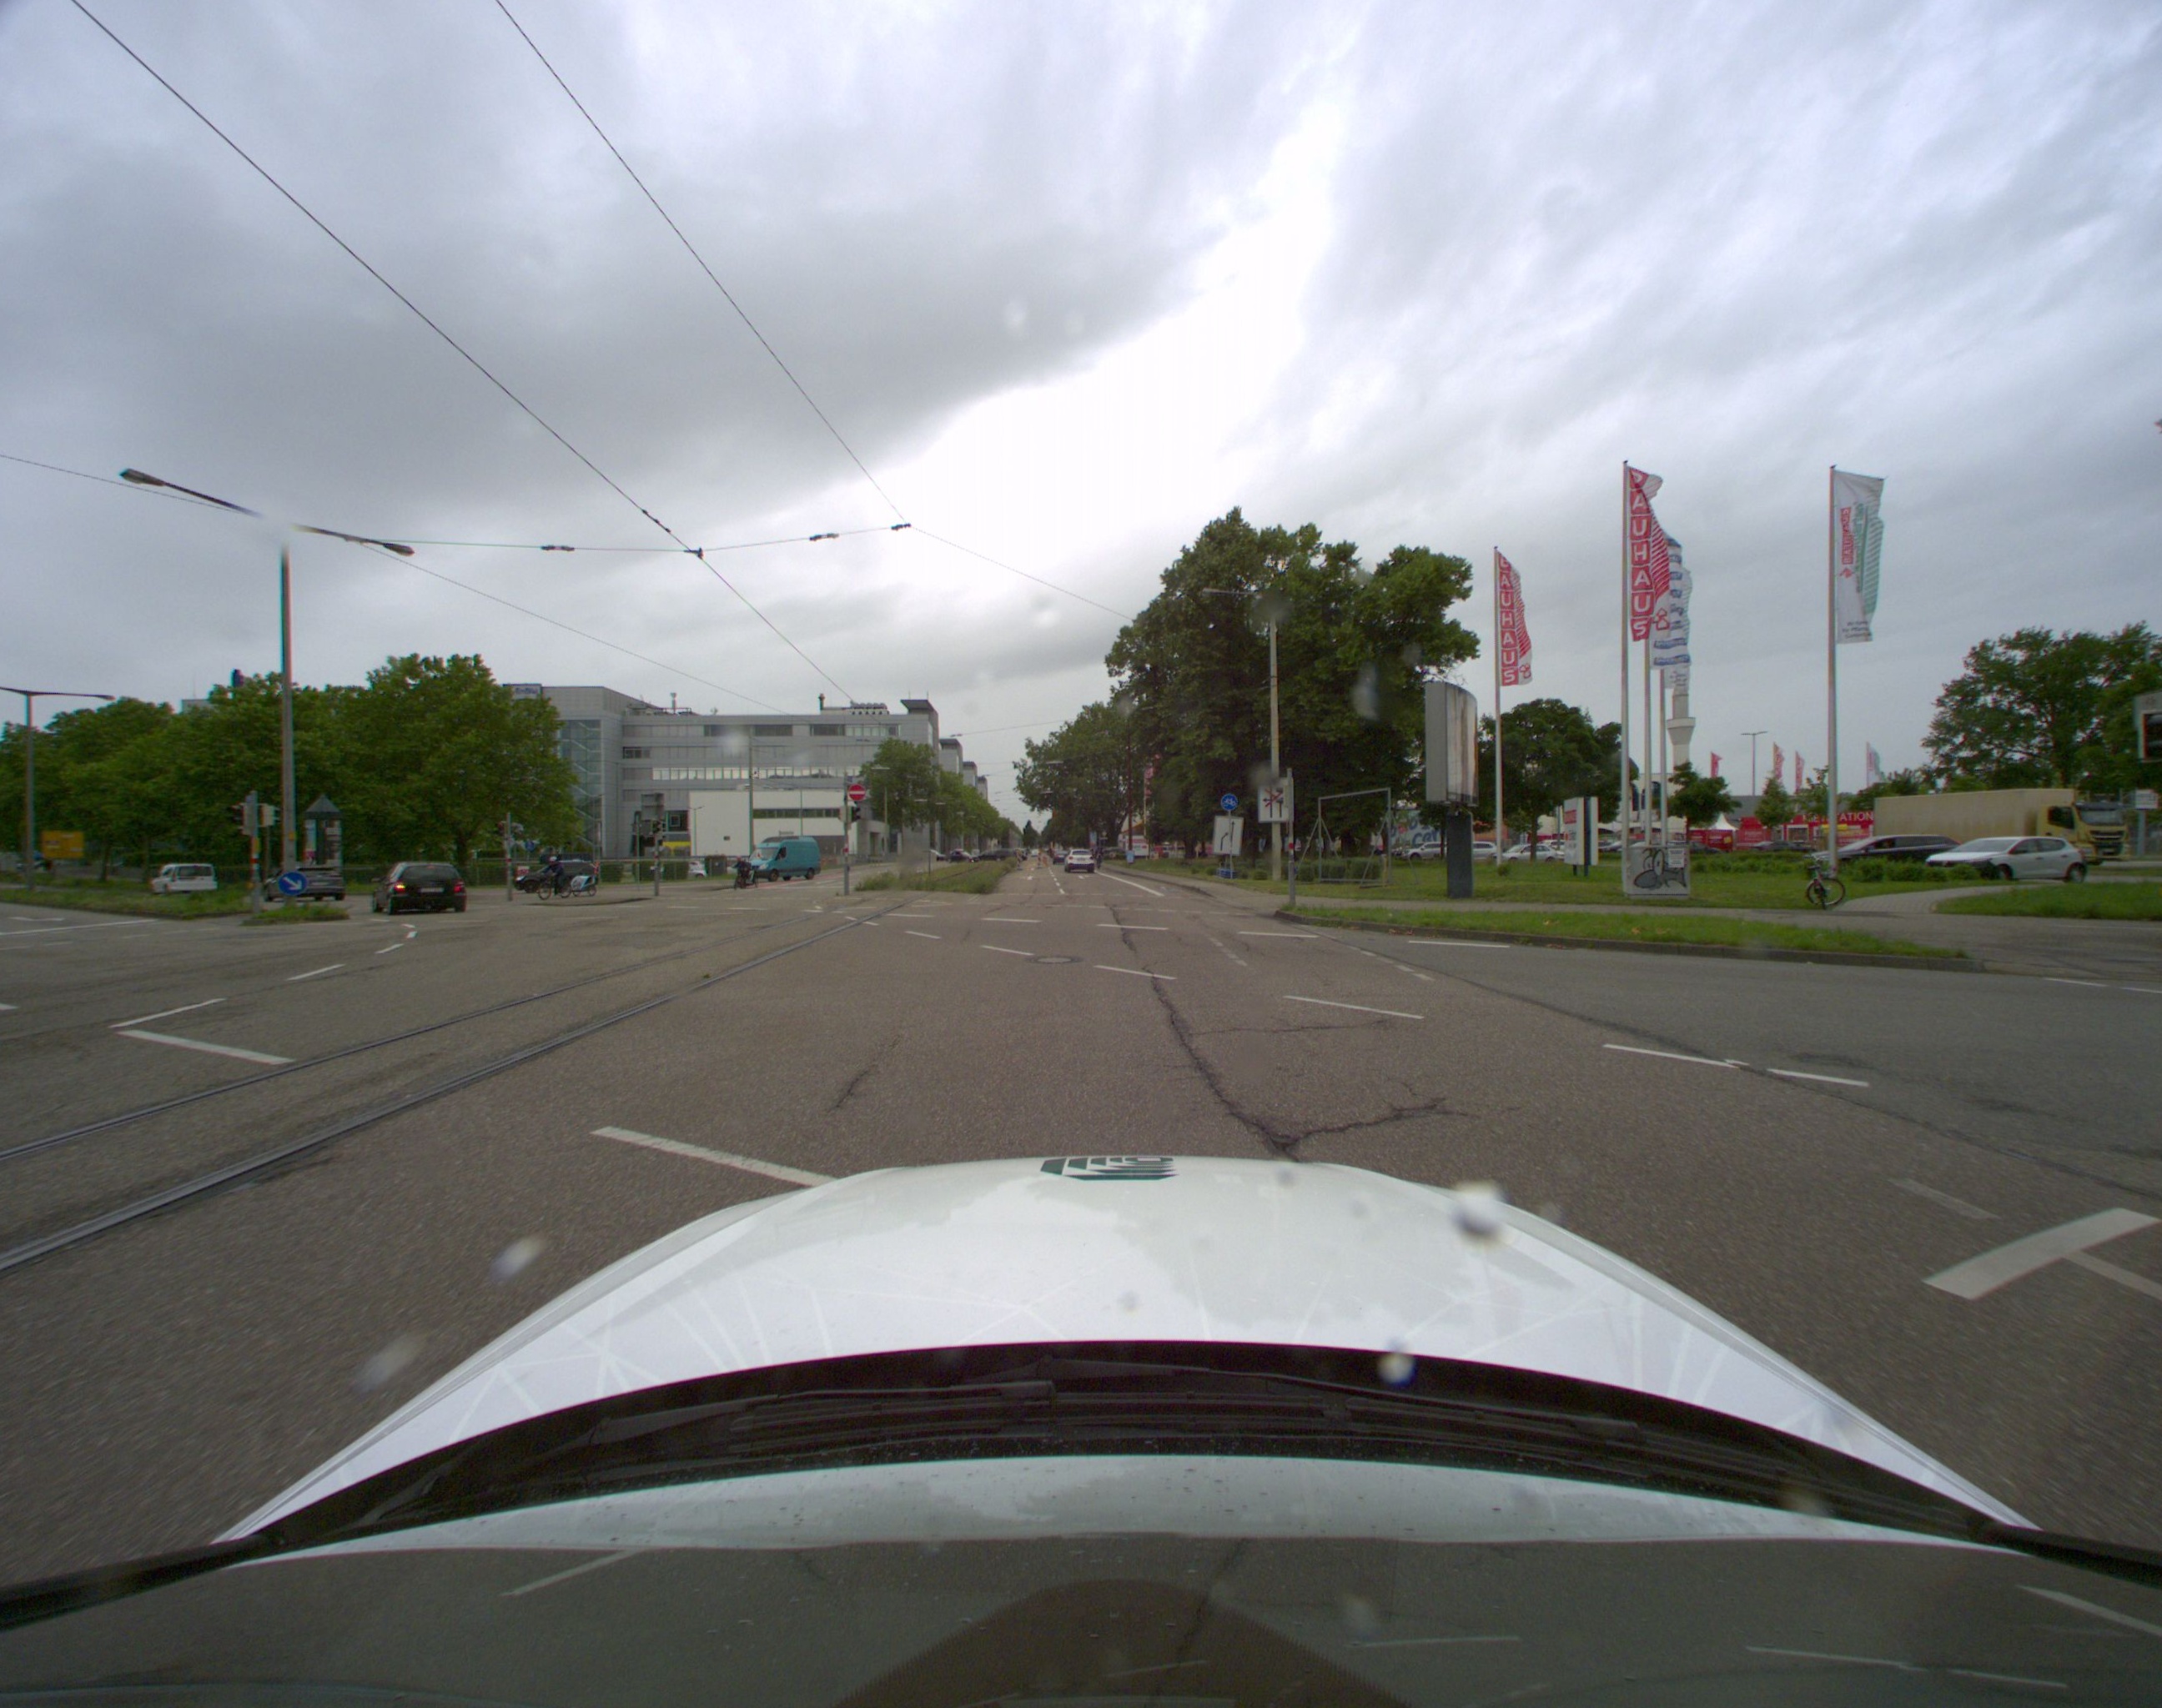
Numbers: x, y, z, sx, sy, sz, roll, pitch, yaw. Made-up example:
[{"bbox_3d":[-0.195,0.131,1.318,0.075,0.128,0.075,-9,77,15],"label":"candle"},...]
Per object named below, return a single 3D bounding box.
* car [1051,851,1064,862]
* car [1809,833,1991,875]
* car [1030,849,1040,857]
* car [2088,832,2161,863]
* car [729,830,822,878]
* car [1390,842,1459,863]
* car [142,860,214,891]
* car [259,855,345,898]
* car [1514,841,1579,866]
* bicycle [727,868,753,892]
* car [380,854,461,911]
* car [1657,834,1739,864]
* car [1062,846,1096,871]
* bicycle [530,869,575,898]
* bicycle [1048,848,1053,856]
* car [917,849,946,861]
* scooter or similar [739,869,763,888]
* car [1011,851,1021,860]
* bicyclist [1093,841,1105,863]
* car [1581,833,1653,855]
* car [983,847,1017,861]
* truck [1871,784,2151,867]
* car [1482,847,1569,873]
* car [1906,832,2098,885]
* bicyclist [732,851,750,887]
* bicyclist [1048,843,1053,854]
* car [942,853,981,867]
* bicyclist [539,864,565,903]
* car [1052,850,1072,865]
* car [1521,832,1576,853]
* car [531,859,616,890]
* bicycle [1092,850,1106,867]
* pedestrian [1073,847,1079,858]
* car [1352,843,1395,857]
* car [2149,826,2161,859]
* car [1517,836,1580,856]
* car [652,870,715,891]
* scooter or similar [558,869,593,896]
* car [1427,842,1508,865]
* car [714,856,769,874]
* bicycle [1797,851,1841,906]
[{"bbox_3d":[-3.726,0.414,127.234,1.874,1.632,3.994,-1,0,-4],"label":"car"},{"bbox_3d":[31.341,-0.005,31.361,4.557,1.497,1.942,1,-1,25],"label":"car"},{"bbox_3d":[-8.986,-0.208,157.809,1.793,1.513,3.698,1,0,-6],"label":"car"},{"bbox_3d":[60.276,-0.374,46.068,4.550,1.677,2.150,-1,0,-8],"label":"car"},{"bbox_3d":[-18.934,0.014,50.849,2.311,2.826,5.974,-1,0,16],"label":"car"},{"bbox_3d":[26.188,-0.103,62.180,4.527,1.497,1.954,1,-1,-8],"label":"car"},{"bbox_3d":[-50.059,1.166,45.120,4.946,1.527,1.981,1,0,34],"label":"car"},{"bbox_3d":[-33.234,0.916,34.729,3.622,1.652,1.790,1,0,31],"label":"car"},{"bbox_3d":[32.800,-0.013,57.552,1.988,1.670,4.503,1,-1,-1],"label":"car"},{"bbox_3d":[-16.178,1.236,38.705,0.645,1.062,2.018,1,0,-9],"label":"bicycle"},{"bbox_3d":[-19.967,0.805,24.703,1.783,1.527,3.628,0,0,-38],"label":"car"},{"bbox_3d":[44.339,-0.362,58.559,4.551,2.051,2.149,-1,0,-9],"label":"car"},{"bbox_3d":[-0.150,0.262,53.503,1.821,1.600,3.768,1,0,-6],"label":"car"},{"bbox_3d":[-21.312,1.173,32.893,0.644,1.062,1.997,1,0,-5],"label":"bicycle"},{"bbox_3d":[-4.972,-0.359,133.656,0.670,1.394,2.162,1,0,-6],"label":"bicycle"},{"bbox_3d":[-23.212,0.085,126.537,4.411,1.783,1.819,-1,0,-10],"label":"car"},{"bbox_3d":[-16.374,1.216,40.418,0.844,0.907,1.194,1,0,-9],"label":"scooter or similar"},{"bbox_3d":[-12.090,0.315,151.682,1.874,1.632,3.994,-1,0,-4],"label":"car"},{"bbox_3d":[1.358,-0.171,62.347,0.815,1.630,1.233,-1,0,-3],"label":"bicyclist"},{"bbox_3d":[42.920,-0.762,65.310,4.551,1.677,2.149,-1,0,-9],"label":"car"},{"bbox_3d":[-9.631,0.018,97.091,3.875,1.556,1.823,1,-1,-4],"label":"car"},{"bbox_3d":[44.764,-1.201,39.872,2.933,3.564,9.238,1,-1,-3],"label":"truck"},{"bbox_3d":[27.401,0.355,50.246,4.440,1.497,1.926,1,-1,-8],"label":"car"},{"bbox_3d":[28.458,0.159,25.231,4.217,1.497,1.927,1,-1,-7],"label":"car"},{"bbox_3d":[-16.168,0.718,38.720,0.645,1.683,0.683,1,0,-10],"label":"bicyclist"},{"bbox_3d":[-4.974,-0.854,133.721,0.670,1.815,0.758,1,0,-6],"label":"bicyclist"},{"bbox_3d":[-14.132,0.698,96.134,4.080,1.475,1.835,-2,-2,22],"label":"car"},{"bbox_3d":[-21.307,1.172,32.822,0.644,1.518,0.625,1,0,-5],"label":"bicyclist"},{"bbox_3d":[-1.916,0.342,82.236,1.682,1.513,3.698,1,0,-6],"label":"car"},{"bbox_3d":[58.561,-1.417,102.098,5.731,2.537,2.071,-1,0,-4],"label":"car"},{"bbox_3d":[-26.762,1.067,42.964,3.630,1.528,1.782,-1,0,15],"label":"car"},{"bbox_3d":[1.370,0.347,62.348,0.815,1.212,2.680,0,0,-3],"label":"bicycle"},{"bbox_3d":[-0.816,-0.201,131.979,0.760,1.705,0.679,-1,0,-8],"label":"pedestrian"},{"bbox_3d":[35.548,-0.508,99.058,4.543,1.572,2.071,-1,0,-4],"label":"car"},{"bbox_3d":[56.514,-0.607,40.584,4.553,1.677,2.148,-1,0,-10],"label":"car"},{"bbox_3d":[42.254,-0.741,73.625,4.551,1.677,2.149,-1,0,-9],"label":"car"},{"bbox_3d":[-32.807,2.171,67.292,4.200,1.532,1.911,-1,0,-2],"label":"car"},{"bbox_3d":[-21.458,1.186,34.619,0.644,1.062,1.447,1,0,-5],"label":"scooter or similar"},{"bbox_3d":[26.779,-0.001,56.544,4.667,1.497,2.167,1,-1,-5],"label":"car"},{"bbox_3d":[-33.000,1.079,79.195,4.521,1.634,1.909,-1,0,-6],"label":"car"},{"bbox_3d":[15.775,0.500,17.392,1.817,1.118,0.482,-1,0,-41],"label":"bicycle"}]
